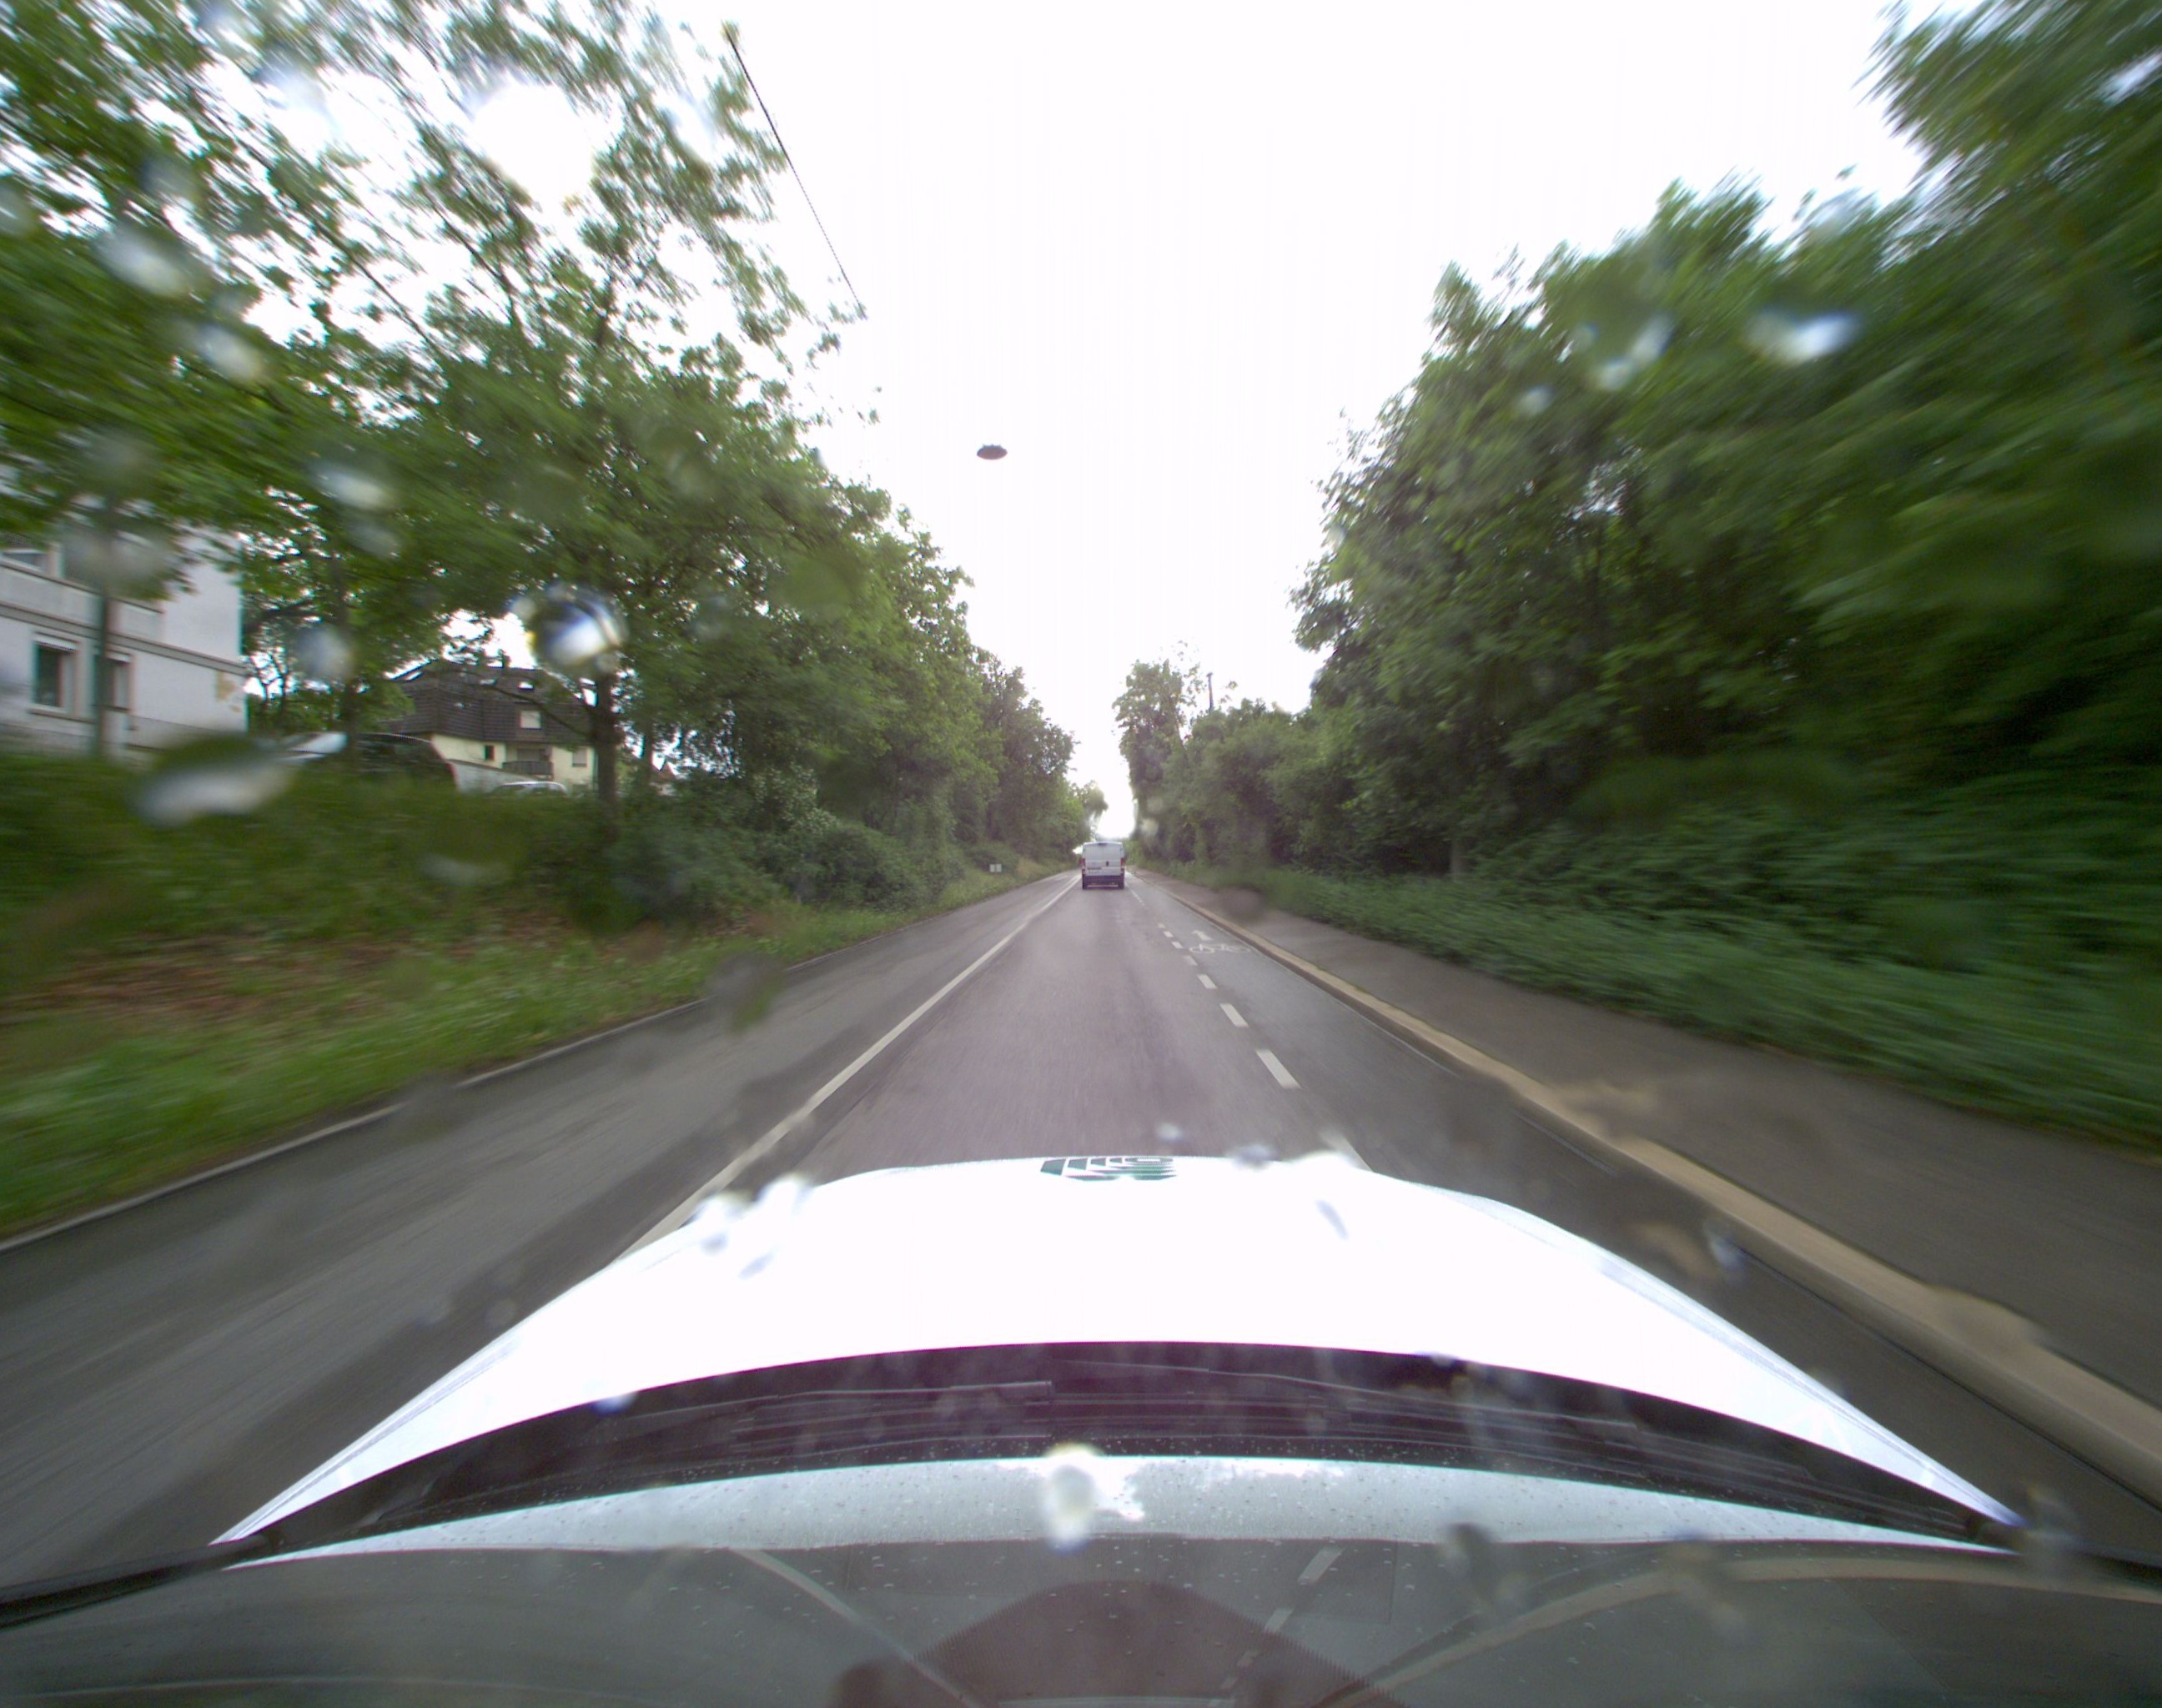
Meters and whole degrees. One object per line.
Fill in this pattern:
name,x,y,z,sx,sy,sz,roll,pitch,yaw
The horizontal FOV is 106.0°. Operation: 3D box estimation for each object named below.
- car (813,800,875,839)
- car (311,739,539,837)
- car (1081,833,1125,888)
car,-11.189,-1.615,38.655,1.745,1.662,3.445,-2,2,2
car,-12.379,-1.174,15.655,1.547,1.440,3.379,-2,-2,2
car,1.120,0.279,40.587,2.042,2.516,4.946,1,0,2
